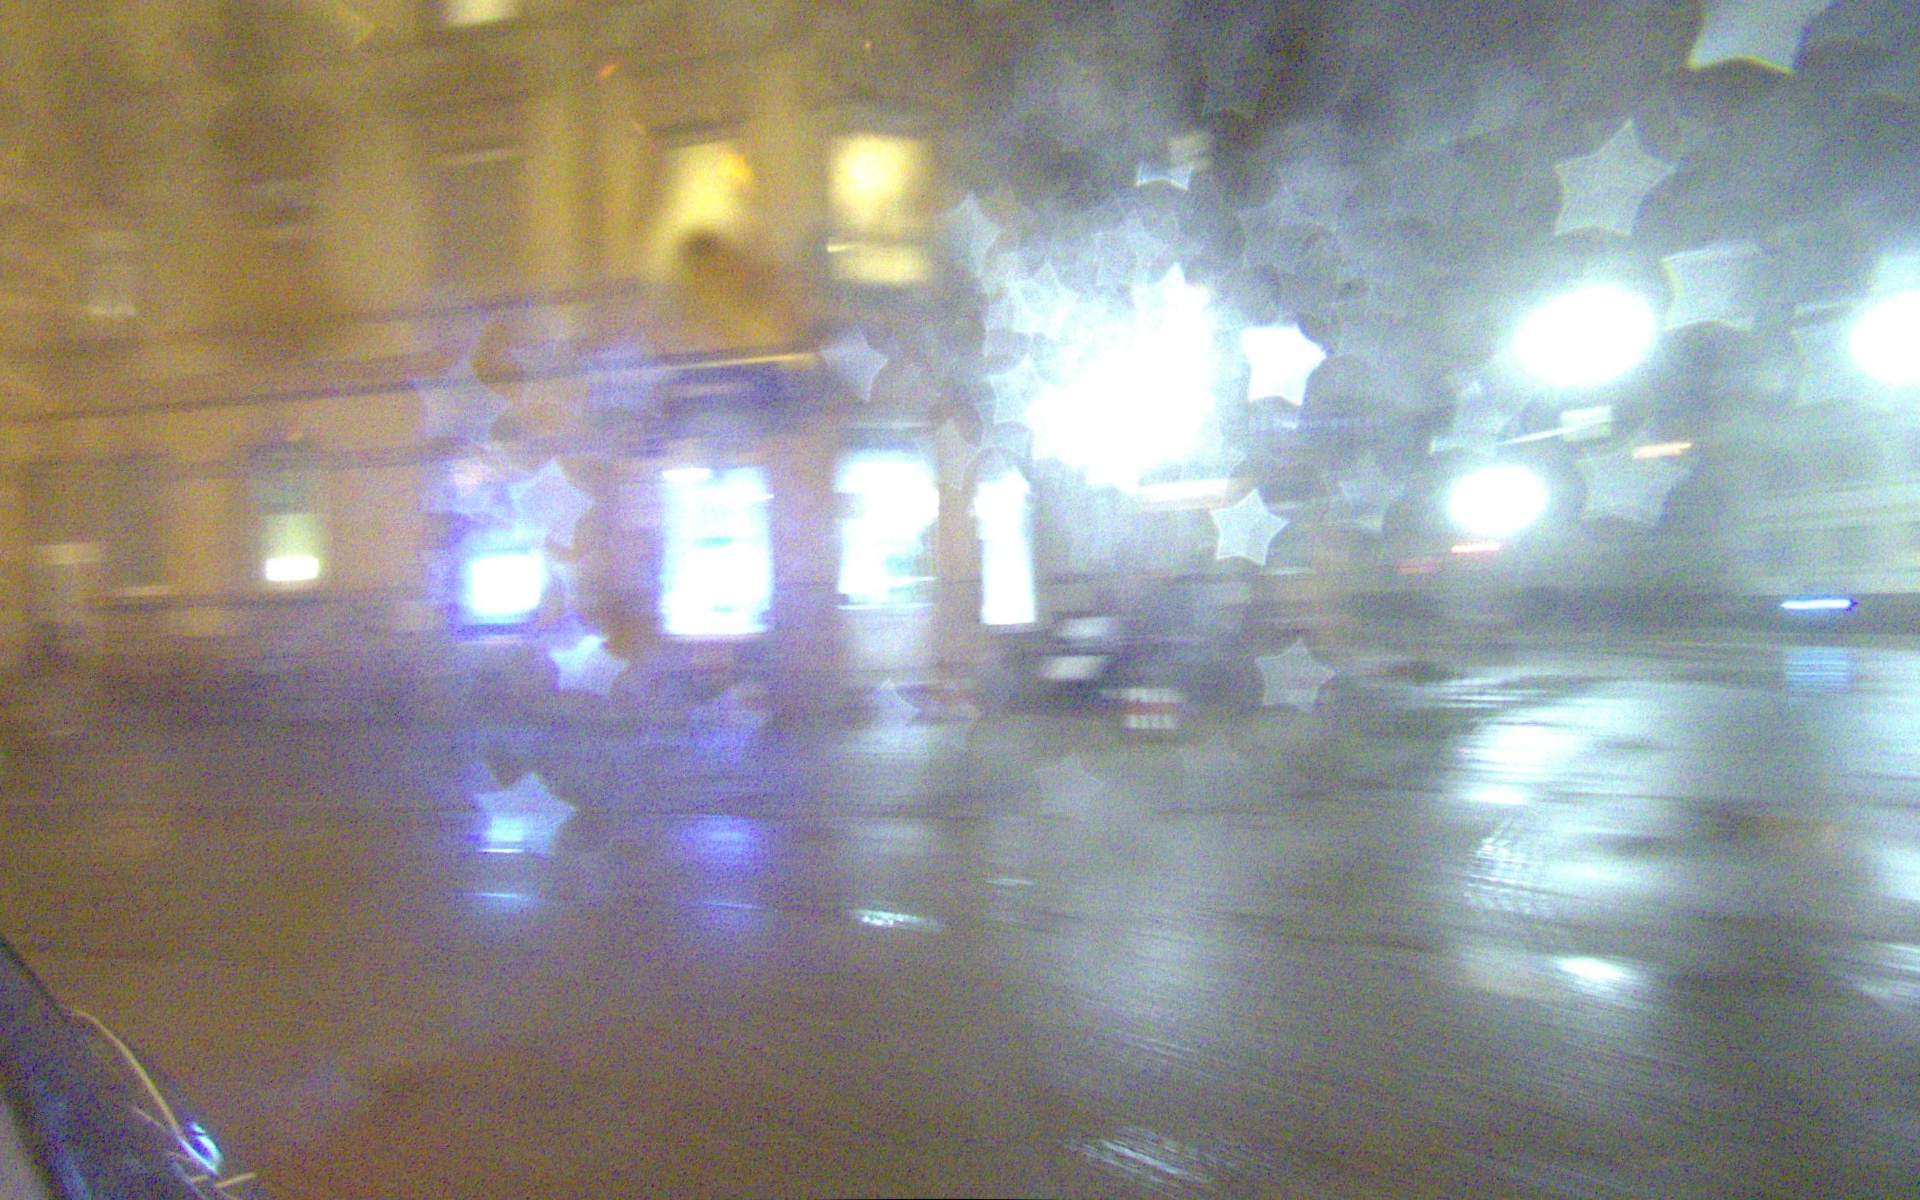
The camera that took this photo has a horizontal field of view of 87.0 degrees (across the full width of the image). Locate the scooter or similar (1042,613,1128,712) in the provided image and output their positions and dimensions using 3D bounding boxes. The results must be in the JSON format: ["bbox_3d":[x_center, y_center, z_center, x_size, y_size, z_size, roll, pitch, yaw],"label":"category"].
[{"bbox_3d":[1.573,0.757,12.691,0.918,1.134,0.573,-3,3,-40],"label":"scooter or similar"}]

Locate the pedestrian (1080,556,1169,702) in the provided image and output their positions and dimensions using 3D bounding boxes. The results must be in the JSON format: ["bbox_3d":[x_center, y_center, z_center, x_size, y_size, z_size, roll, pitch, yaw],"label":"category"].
[{"bbox_3d":[2.180,0.351,13.407,0.932,1.834,0.695,-3,3,-41],"label":"pedestrian"}]

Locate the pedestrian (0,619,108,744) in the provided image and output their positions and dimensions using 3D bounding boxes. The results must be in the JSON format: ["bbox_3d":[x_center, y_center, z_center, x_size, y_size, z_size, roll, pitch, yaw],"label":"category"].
[{"bbox_3d":[-11.943,1.058,13.359,0.752,1.563,0.658,-2,2,-2],"label":"pedestrian"}]

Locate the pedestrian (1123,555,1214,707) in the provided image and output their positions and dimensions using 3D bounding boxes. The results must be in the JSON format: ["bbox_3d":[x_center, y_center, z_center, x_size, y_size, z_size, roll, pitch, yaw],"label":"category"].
[{"bbox_3d":[2.651,0.359,12.838,0.694,1.834,0.933,0,3,44],"label":"pedestrian"}]
